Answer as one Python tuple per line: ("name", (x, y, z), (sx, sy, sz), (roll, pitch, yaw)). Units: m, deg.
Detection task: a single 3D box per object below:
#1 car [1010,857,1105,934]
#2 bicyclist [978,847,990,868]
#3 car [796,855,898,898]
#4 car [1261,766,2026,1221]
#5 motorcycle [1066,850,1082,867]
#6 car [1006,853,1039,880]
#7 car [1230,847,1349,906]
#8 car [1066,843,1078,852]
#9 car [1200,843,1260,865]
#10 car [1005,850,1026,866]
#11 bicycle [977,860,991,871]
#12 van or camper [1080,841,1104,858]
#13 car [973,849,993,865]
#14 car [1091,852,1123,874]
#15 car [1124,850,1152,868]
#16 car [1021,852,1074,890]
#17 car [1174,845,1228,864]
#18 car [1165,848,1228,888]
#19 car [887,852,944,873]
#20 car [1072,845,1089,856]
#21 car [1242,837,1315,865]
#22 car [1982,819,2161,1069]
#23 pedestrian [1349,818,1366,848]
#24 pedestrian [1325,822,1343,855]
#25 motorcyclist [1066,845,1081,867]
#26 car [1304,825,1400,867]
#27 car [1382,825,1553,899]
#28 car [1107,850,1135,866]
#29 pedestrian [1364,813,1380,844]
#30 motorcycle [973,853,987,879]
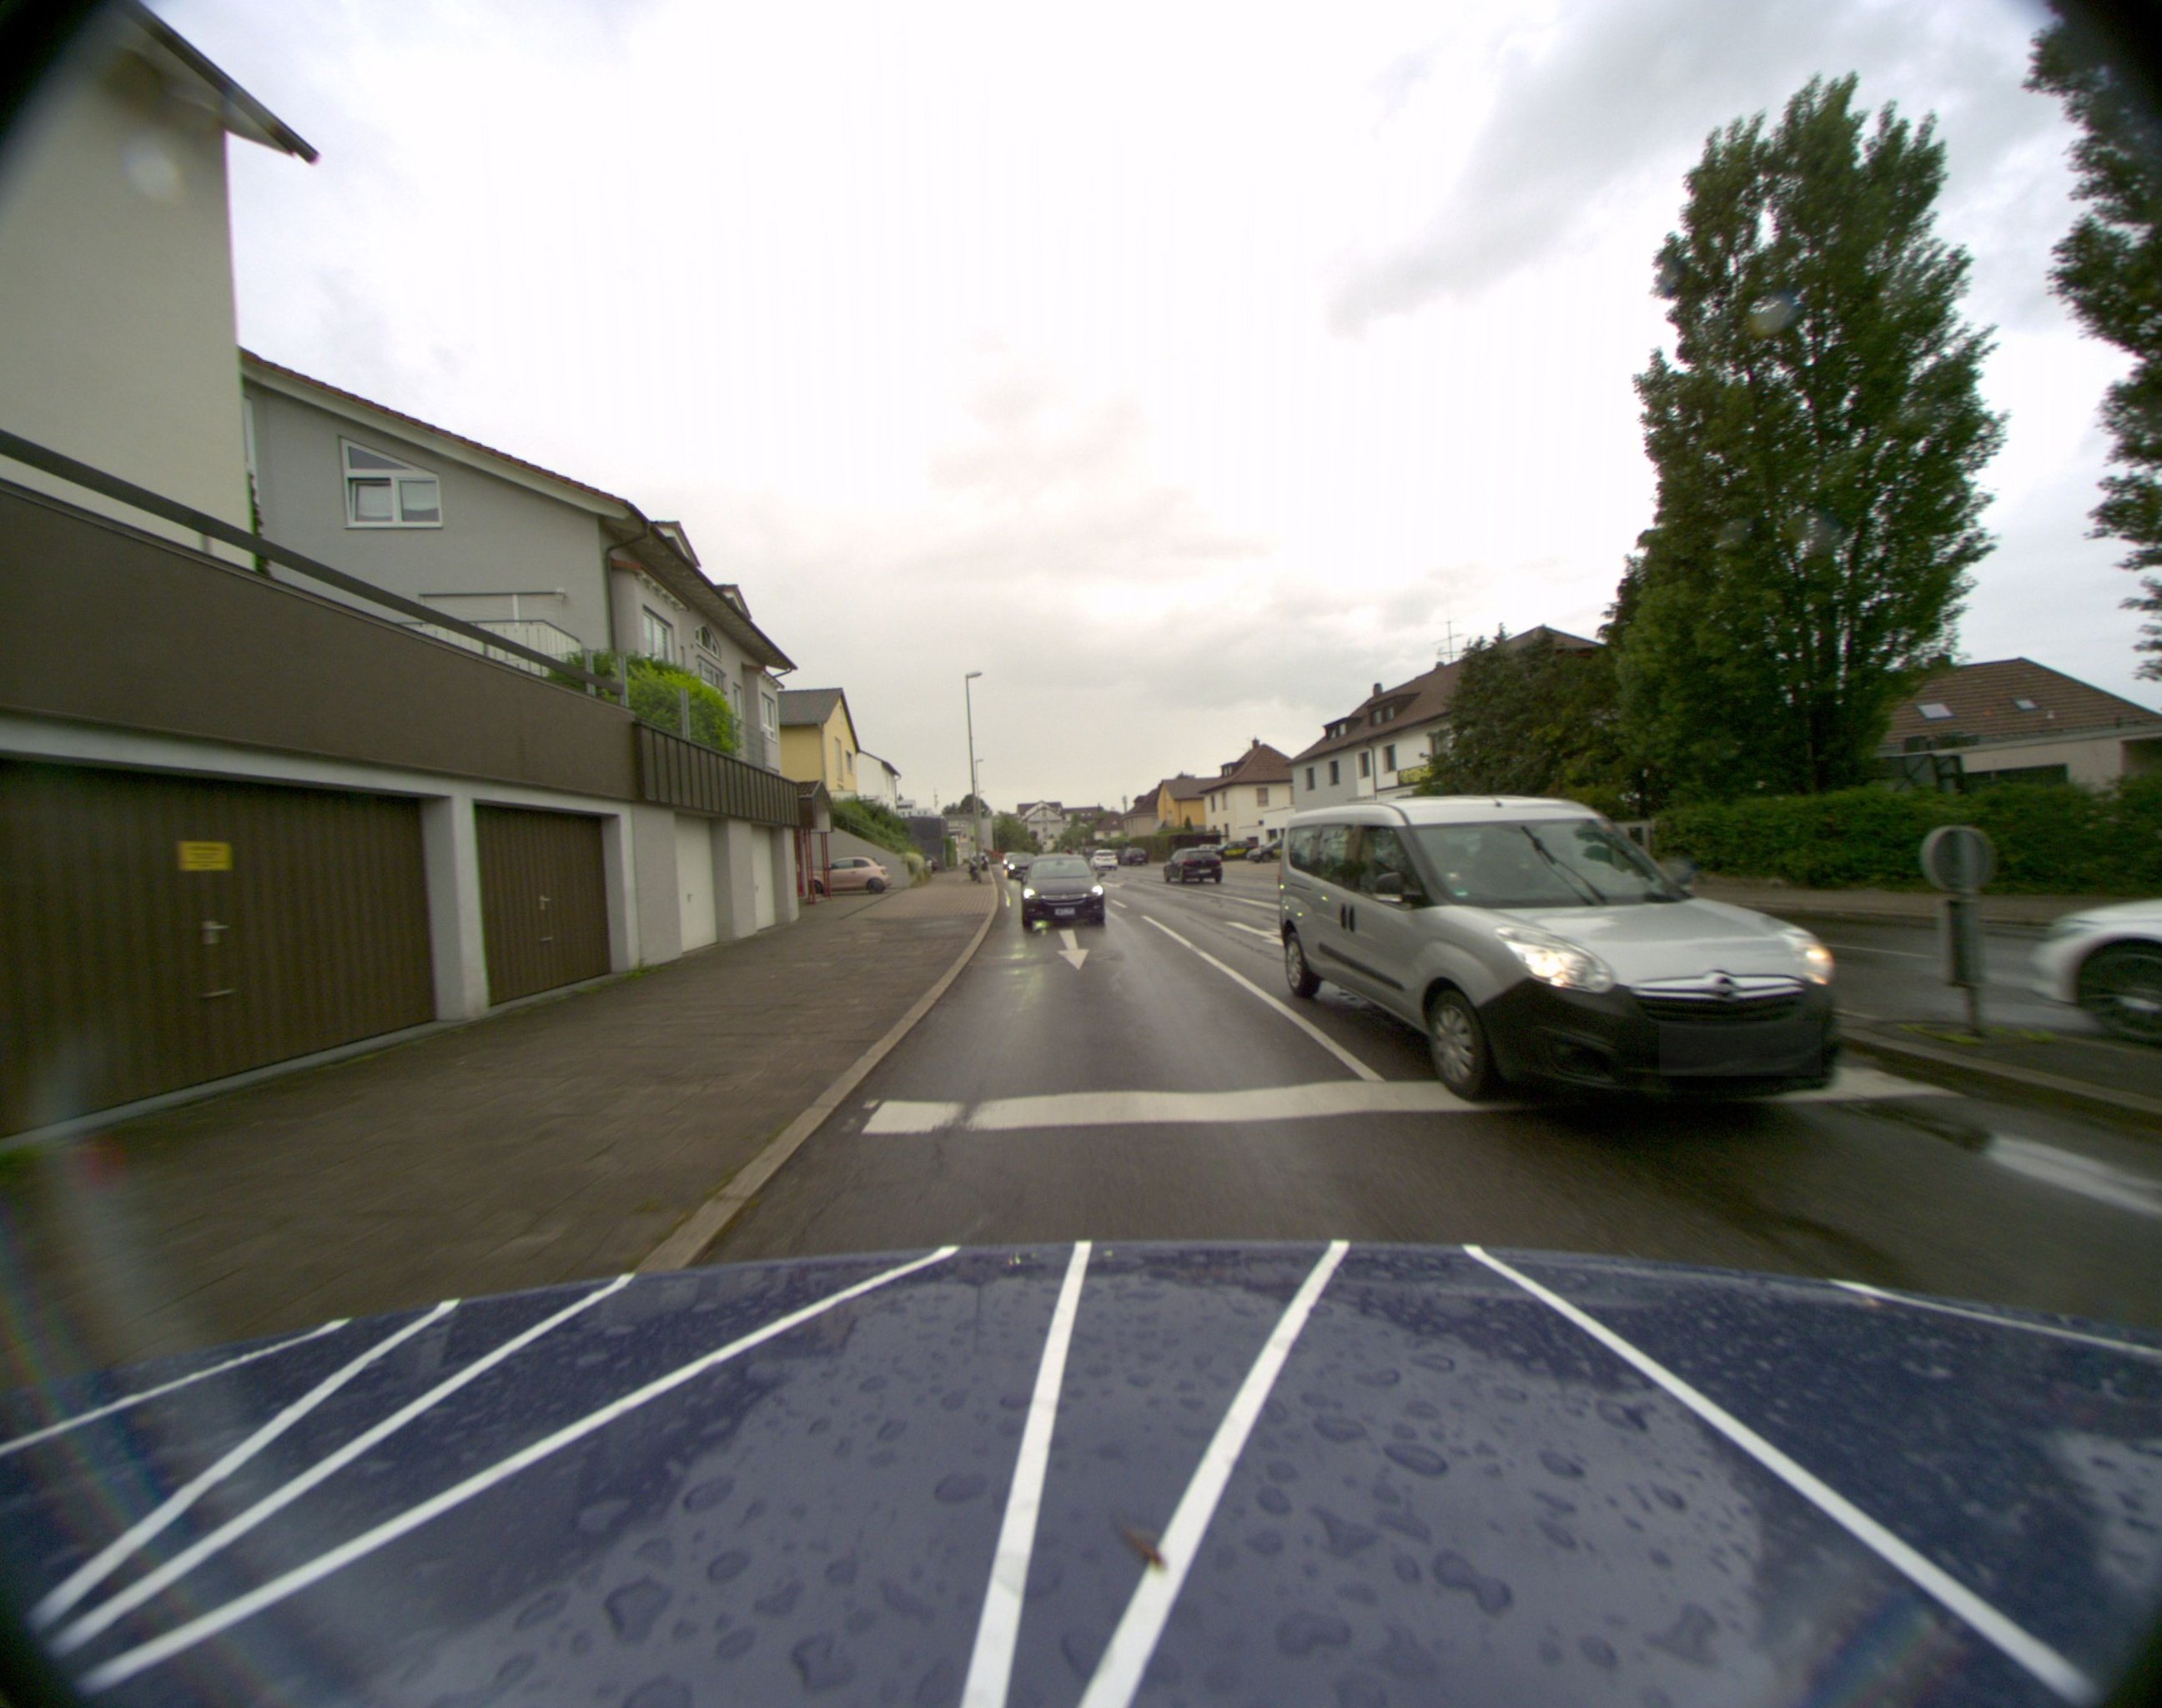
("car", (-0.449, 0.838, 17.088), (1.840, 1.390, 3.999), (-1, 1, 0))
("bicyclist", (-8.008, 0.279, 62.749), (0.809, 1.633, 0.906), (-1, 3, 3))
("car", (-9.299, 0.855, 30.484), (3.644, 1.477, 1.811), (-3, 1, -10))
("car", (2.966, 0.554, 5.574), (1.956, 1.860, 4.744), (-2, 1, -2))
("motorcycle", (-0.511, 0.291, 51.911), (0.944, 1.101, 2.405), (-2, 1, -4))
("car", (-3.550, 0.798, 45.868), (1.841, 1.448, 4.000), (-2, -3, -6))
("car", (5.816, 0.578, 21.713), (1.859, 1.455, 3.997), (-2, 1, -7))
("car", (-1.779, -1.260, 148.176), (1.999, 1.565, 3.997), (-2, 1, -5))
("car", (11.403, -0.033, 58.341), (4.111, 1.412, 1.883), (-4, 1, -6))
("car", (-6.442, 0.393, 74.519), (1.842, 1.472, 3.997), (-2, 0, -8))
("bicycle", (-8.019, 0.920, 62.777), (0.733, 0.822, 2.234), (-1, 1, 4))
("van or camper", (1.317, -0.599, 92.511), (2.191, 2.002, 5.130), (-2, 1, -7))
("car", (-9.716, 0.304, 75.633), (1.738, 1.481, 3.997), (-2, 1, -5))
("car", (1.948, 0.639, 57.982), (1.838, 1.521, 3.997), (-2, 1, -5))
("car", (5.020, 0.411, 67.030), (1.810, 1.407, 3.997), (-2, 1, -5))
("car", (-1.467, 0.701, 31.266), (1.911, 1.389, 4.855), (-2, -1, -5))
("car", (10.111, 0.071, 64.149), (4.114, 1.475, 1.838), (2, 0, -13))
("car", (4.823, 0.533, 32.174), (1.717, 1.494, 3.997), (-2, 1, -5))
("car", (-12.213, 0.636, 56.240), (4.001, 1.395, 1.671), (-2, 1, -13))
("car", (-0.125, -0.520, 108.288), (1.889, 1.477, 3.997), (-2, 1, -7))
("car", (12.517, -0.182, 48.315), (3.999, 1.412, 1.883), (-5, 1, -6))
("car", (7.745, 0.574, 3.306), (1.841, 1.547, 4.767), (-2, 1, -3))
("pedestrian", (15.955, -1.212, 43.874), (0.584, 1.661, 0.575), (-6, 2, -8))
("pedestrian", (14.196, -0.876, 42.656), (0.670, 1.778, 0.539), (-6, 2, -2))
("motorcyclist", (-0.513, 0.135, 51.885), (0.953, 1.413, 0.992), (-2, 1, -4))
("car", (13.650, -0.393, 38.437), (3.998, 1.555, 1.872), (-7, 1, -5))
("car", (9.926, 0.142, 20.008), (1.810, 1.660, 4.595), (-2, 1, -5))
("car", (3.816, 0.332, 73.096), (1.810, 1.407, 3.996), (-2, 1, -9))
("pedestrian", (16.124, -1.400, 42.116), (0.517, 1.661, 0.512), (-6, 2, 0))
("motorcycle", (-5.431, 0.628, 41.055), (0.694, 1.317, 2.477), (-2, 1, -7))
